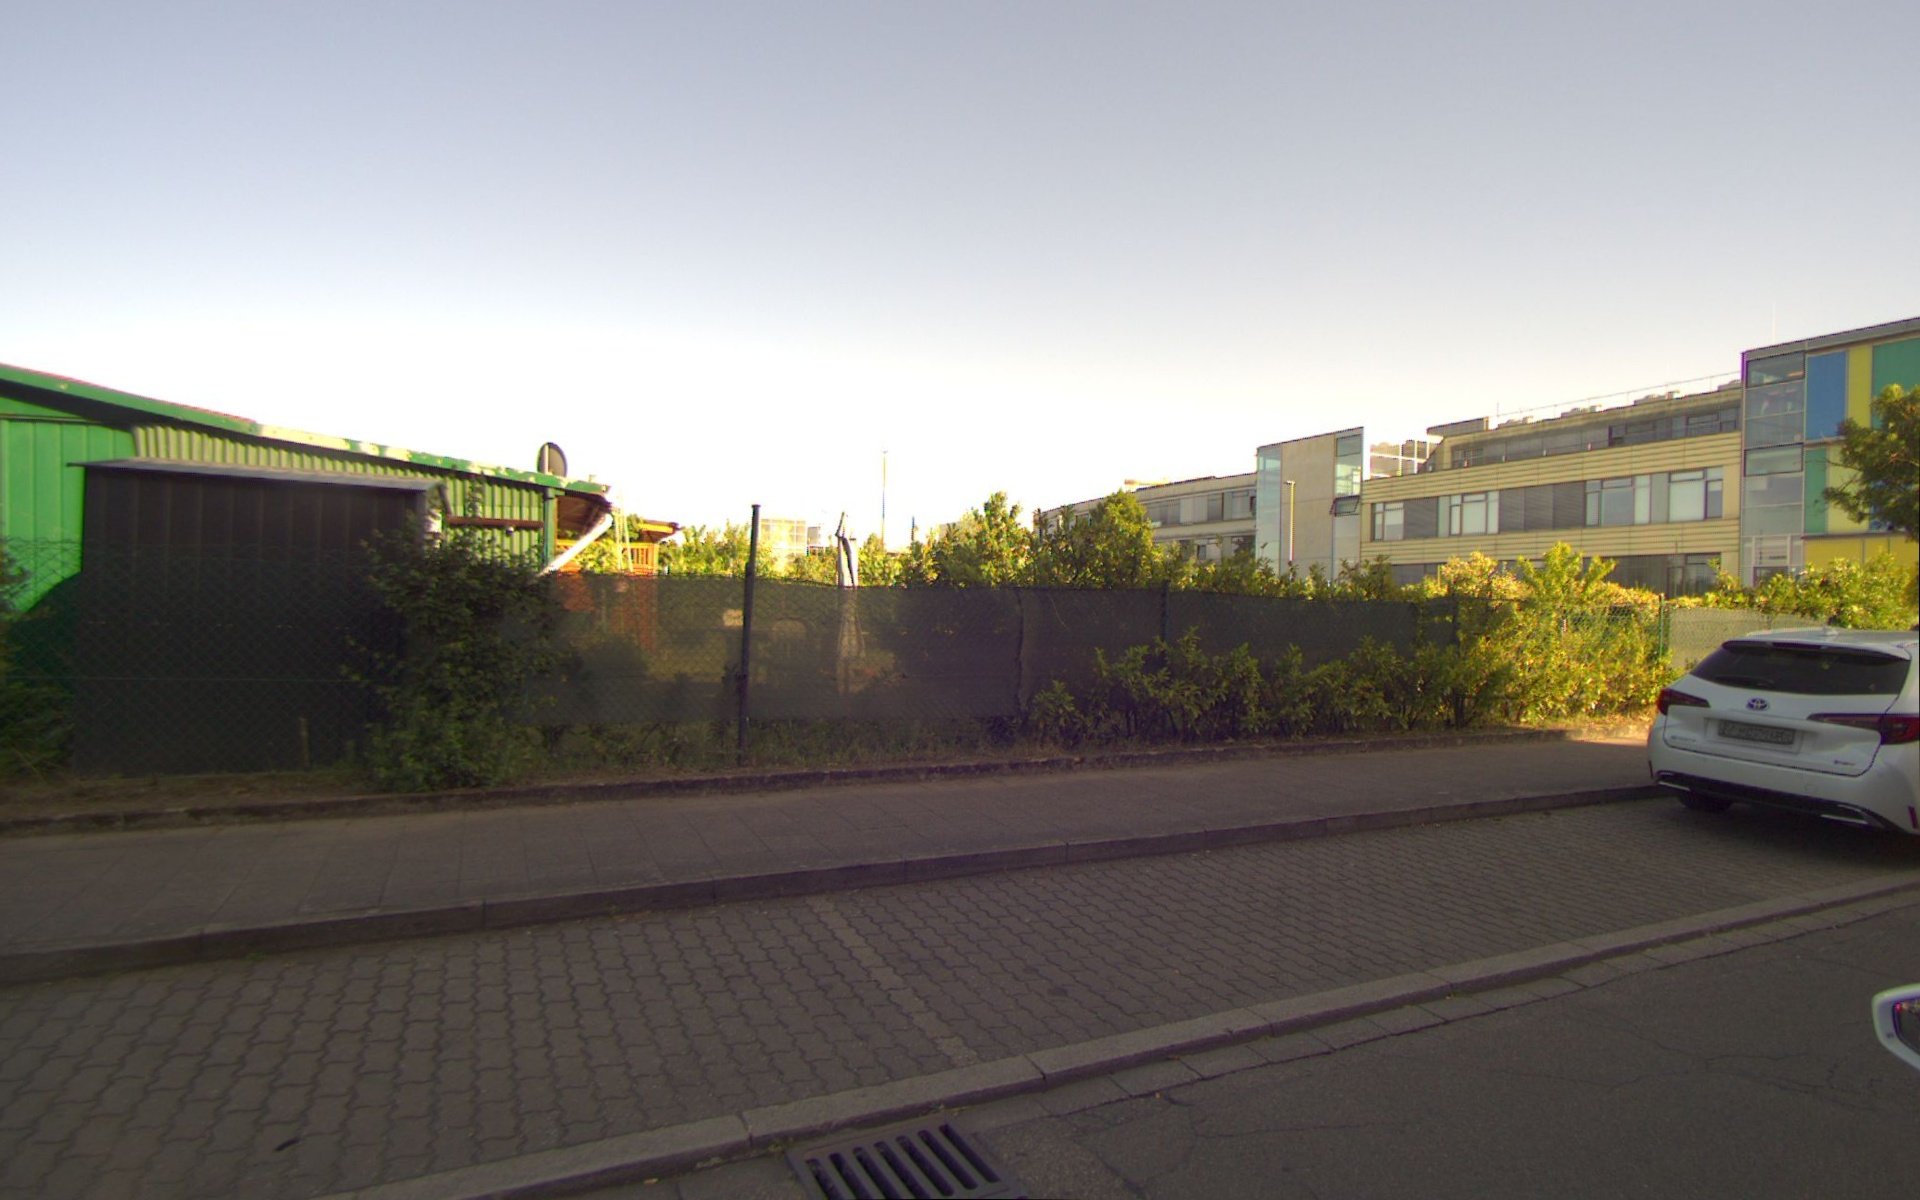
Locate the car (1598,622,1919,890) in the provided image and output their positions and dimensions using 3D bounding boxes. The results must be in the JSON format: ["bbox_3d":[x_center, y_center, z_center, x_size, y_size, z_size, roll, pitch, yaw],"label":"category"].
[{"bbox_3d":[7.048,0.942,7.502,4.480,1.465,1.741,1,1,-26],"label":"car"}]
